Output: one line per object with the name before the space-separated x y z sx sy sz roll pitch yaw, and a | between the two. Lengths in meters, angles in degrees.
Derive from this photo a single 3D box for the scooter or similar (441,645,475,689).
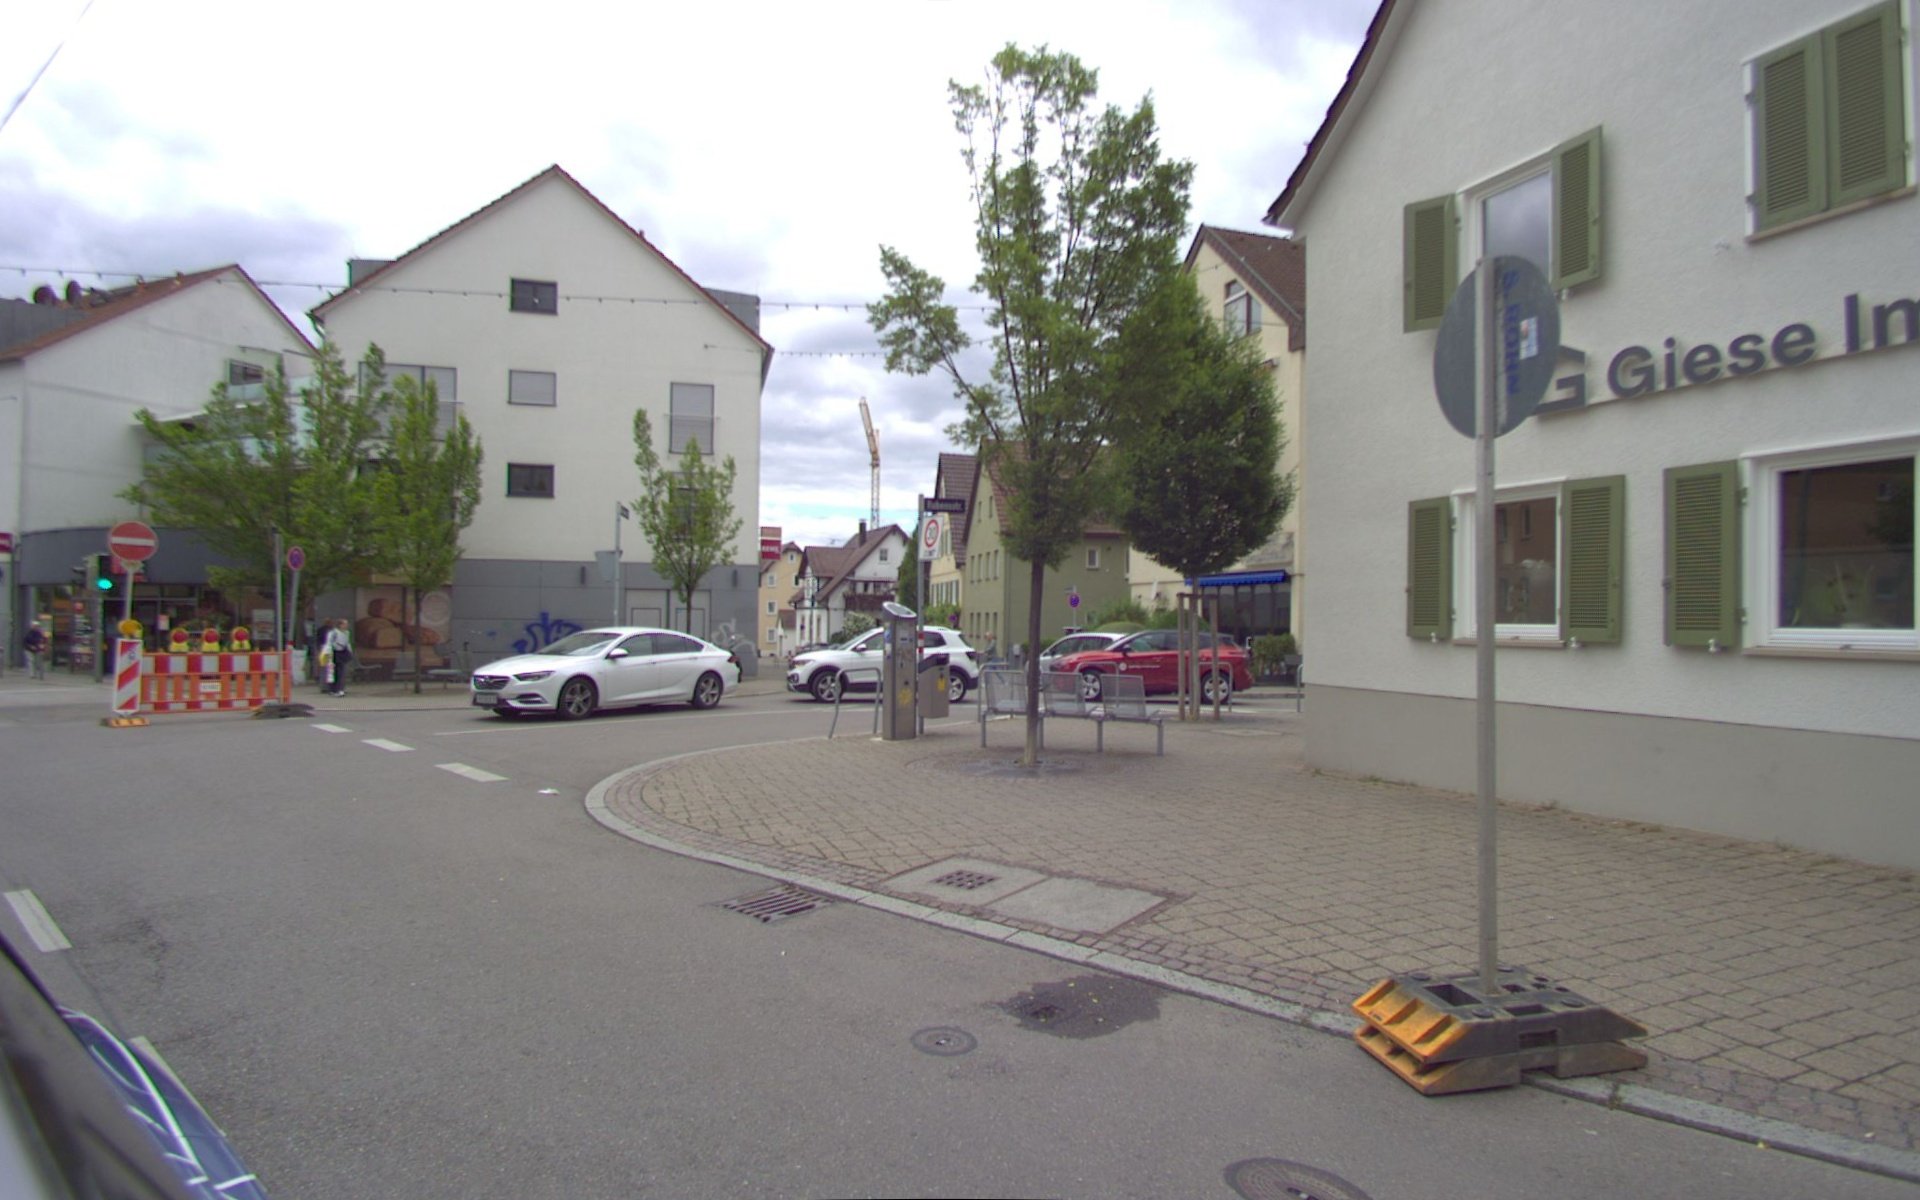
scooter or similar | -13.761 1.820 27.773 0.587 1.132 1.537 0 -2 -18

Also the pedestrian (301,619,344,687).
pedestrian | -17.245 1.424 27.378 0.708 1.804 0.694 0 -2 -1

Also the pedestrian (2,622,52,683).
pedestrian | -26.779 1.490 29.047 0.813 1.726 0.826 -1 -2 31

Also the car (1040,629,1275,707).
car | 4.228 1.477 22.406 4.855 1.569 2.019 -1 -1 4

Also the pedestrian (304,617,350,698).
pedestrian | -12.946 1.161 20.693 0.672 1.604 0.880 2 -3 -39

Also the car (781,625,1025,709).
car | -1.266 1.349 21.346 4.837 1.569 2.026 -1 -1 -12

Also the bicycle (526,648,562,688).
bicycle | -11.519 1.884 28.072 0.738 1.054 2.158 1 -4 -18

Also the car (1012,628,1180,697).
car | 3.470 1.571 26.548 1.967 1.652 4.338 2 -3 -35

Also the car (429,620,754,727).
car | -6.024 1.121 17.190 2.242 1.488 4.864 -1 -1 32

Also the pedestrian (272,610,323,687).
pedestrian | -17.161 1.250 26.224 0.774 1.940 0.816 -1 -2 3
